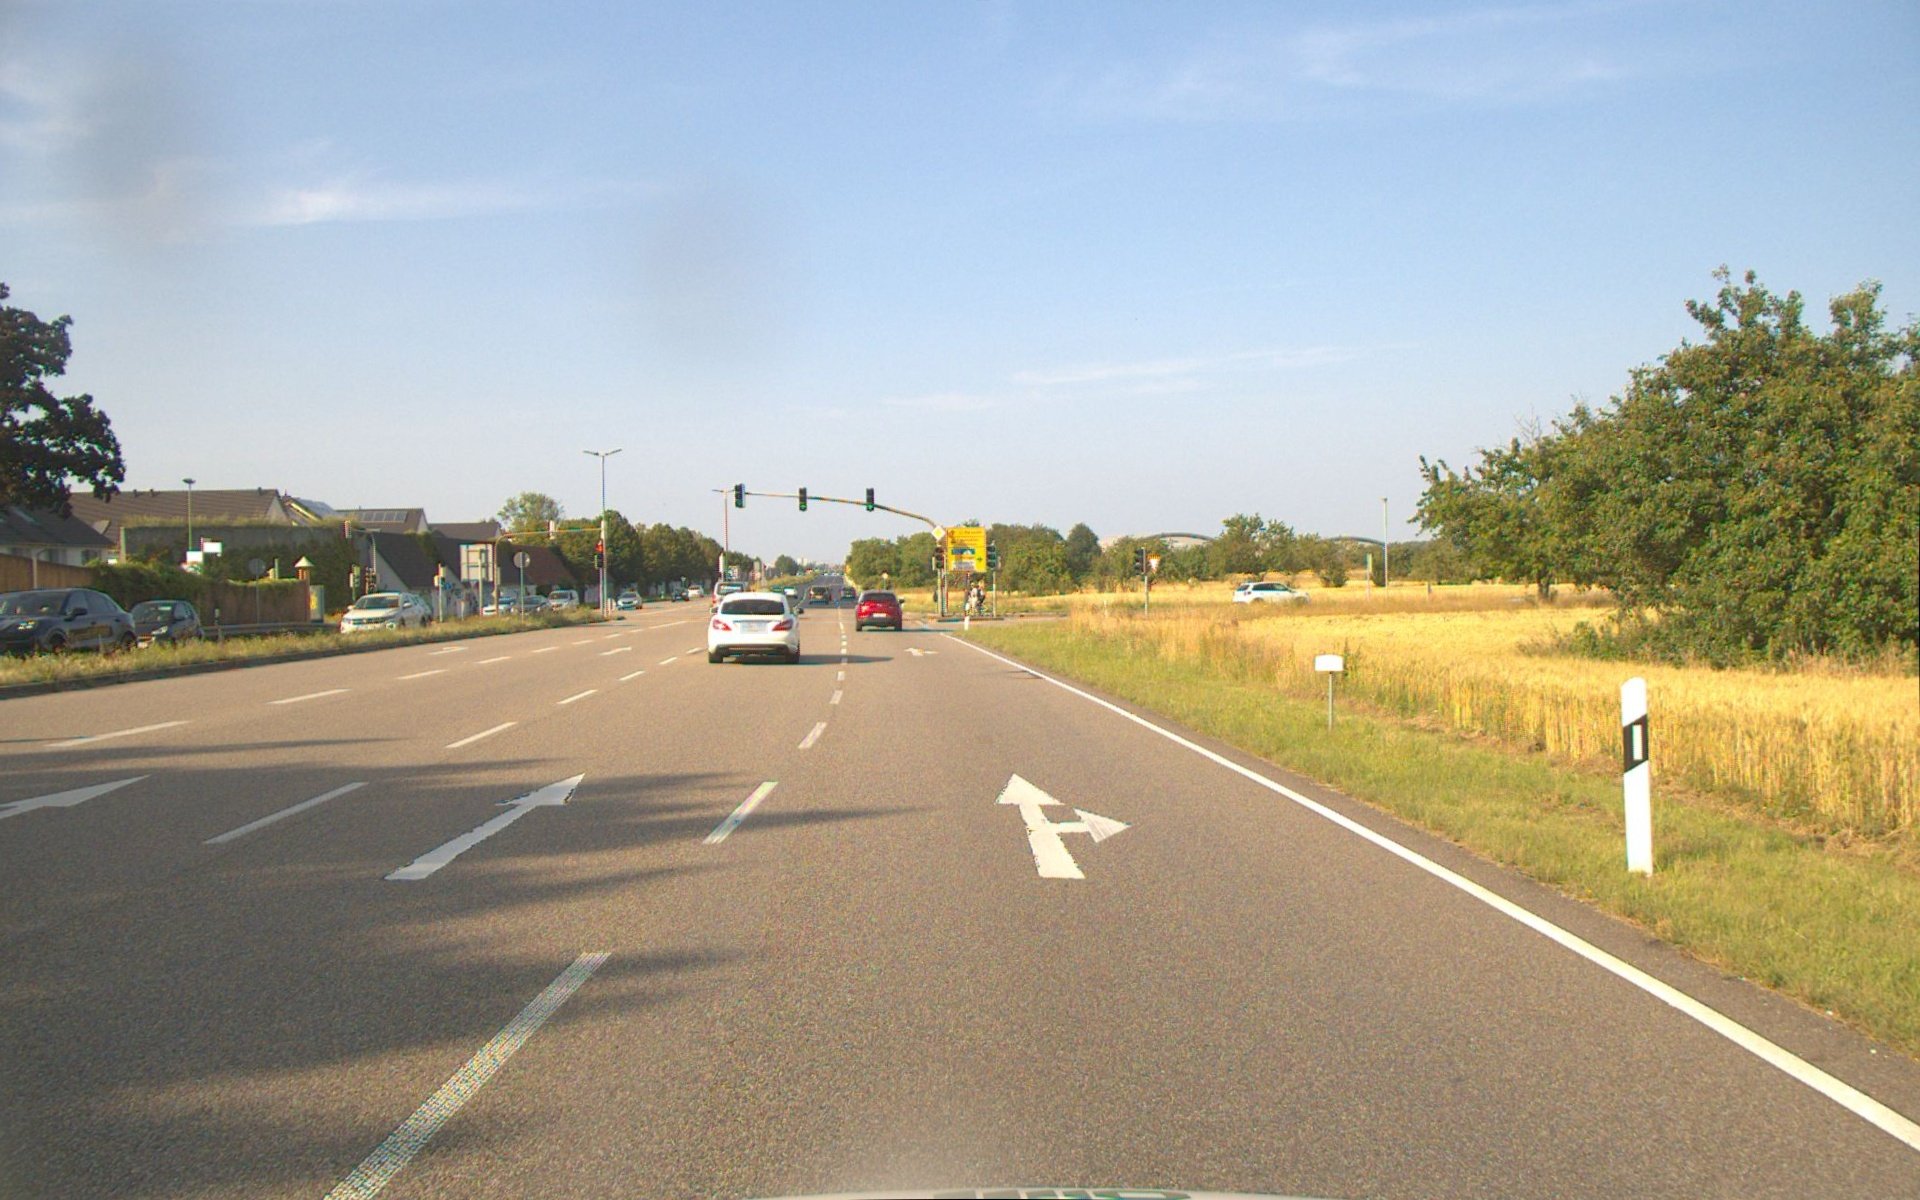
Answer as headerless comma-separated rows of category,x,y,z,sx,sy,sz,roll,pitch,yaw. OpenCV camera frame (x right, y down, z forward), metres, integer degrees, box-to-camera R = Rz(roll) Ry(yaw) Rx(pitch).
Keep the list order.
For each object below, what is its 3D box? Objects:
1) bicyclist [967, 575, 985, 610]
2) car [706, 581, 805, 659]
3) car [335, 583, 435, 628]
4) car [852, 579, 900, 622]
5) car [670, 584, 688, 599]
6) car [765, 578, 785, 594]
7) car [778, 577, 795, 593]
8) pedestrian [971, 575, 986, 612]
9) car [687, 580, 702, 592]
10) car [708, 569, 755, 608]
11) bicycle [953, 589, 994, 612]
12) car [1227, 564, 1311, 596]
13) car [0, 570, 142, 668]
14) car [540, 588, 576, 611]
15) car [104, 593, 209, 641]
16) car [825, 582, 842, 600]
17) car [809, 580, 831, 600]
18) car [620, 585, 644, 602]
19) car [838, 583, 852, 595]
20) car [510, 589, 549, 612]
bicyclist,0.793,-0.386,83.658,0.831,1.786,0.798,0,0,-3
car,-4.244,0.371,34.799,1.857,1.535,3.997,0,1,-4
car,-18.103,0.146,52.262,1.836,1.344,4.709,0,1,-4
car,-3.190,-0.007,62.435,1.719,1.543,3.998,-1,1,-3
car,-32.635,-0.998,192.466,1.700,1.601,3.700,0,1,-4
car,-17.098,-1.298,153.101,1.683,1.518,3.582,1,1,-4
car,-19.615,-1.688,186.911,1.742,1.694,3.657,0,1,-7
pedestrian,0.928,-0.319,81.830,0.696,1.782,0.862,0,0,-2
car,-35.055,-1.839,218.404,1.700,1.601,3.700,0,1,-4
car,-11.741,-0.610,85.411,1.985,1.924,4.956,1,1,-3
bicycle,0.703,0.028,83.674,2.053,1.108,0.807,1,0,-1
car,16.058,-1.031,86.102,3.917,1.626,1.855,0,1,-12
car,-16.813,0.282,30.143,1.697,1.653,4.918,0,1,-4
car,-31.382,-0.075,129.193,1.958,1.716,4.571,0,1,-5
car,-21.277,0.435,43.899,1.445,1.184,3.060,1,1,-3
car,-13.092,-0.951,170.811,1.677,1.766,3.864,0,1,-5
car,-12.589,-0.897,148.942,1.802,1.713,3.999,1,1,-2
car,-28.206,-0.573,142.256,1.750,1.462,4.350,0,1,-7
car,-12.308,-1.193,177.571,1.411,1.306,2.912,1,1,-3
car,-25.219,0.039,96.990,1.652,1.308,3.144,0,1,-5
